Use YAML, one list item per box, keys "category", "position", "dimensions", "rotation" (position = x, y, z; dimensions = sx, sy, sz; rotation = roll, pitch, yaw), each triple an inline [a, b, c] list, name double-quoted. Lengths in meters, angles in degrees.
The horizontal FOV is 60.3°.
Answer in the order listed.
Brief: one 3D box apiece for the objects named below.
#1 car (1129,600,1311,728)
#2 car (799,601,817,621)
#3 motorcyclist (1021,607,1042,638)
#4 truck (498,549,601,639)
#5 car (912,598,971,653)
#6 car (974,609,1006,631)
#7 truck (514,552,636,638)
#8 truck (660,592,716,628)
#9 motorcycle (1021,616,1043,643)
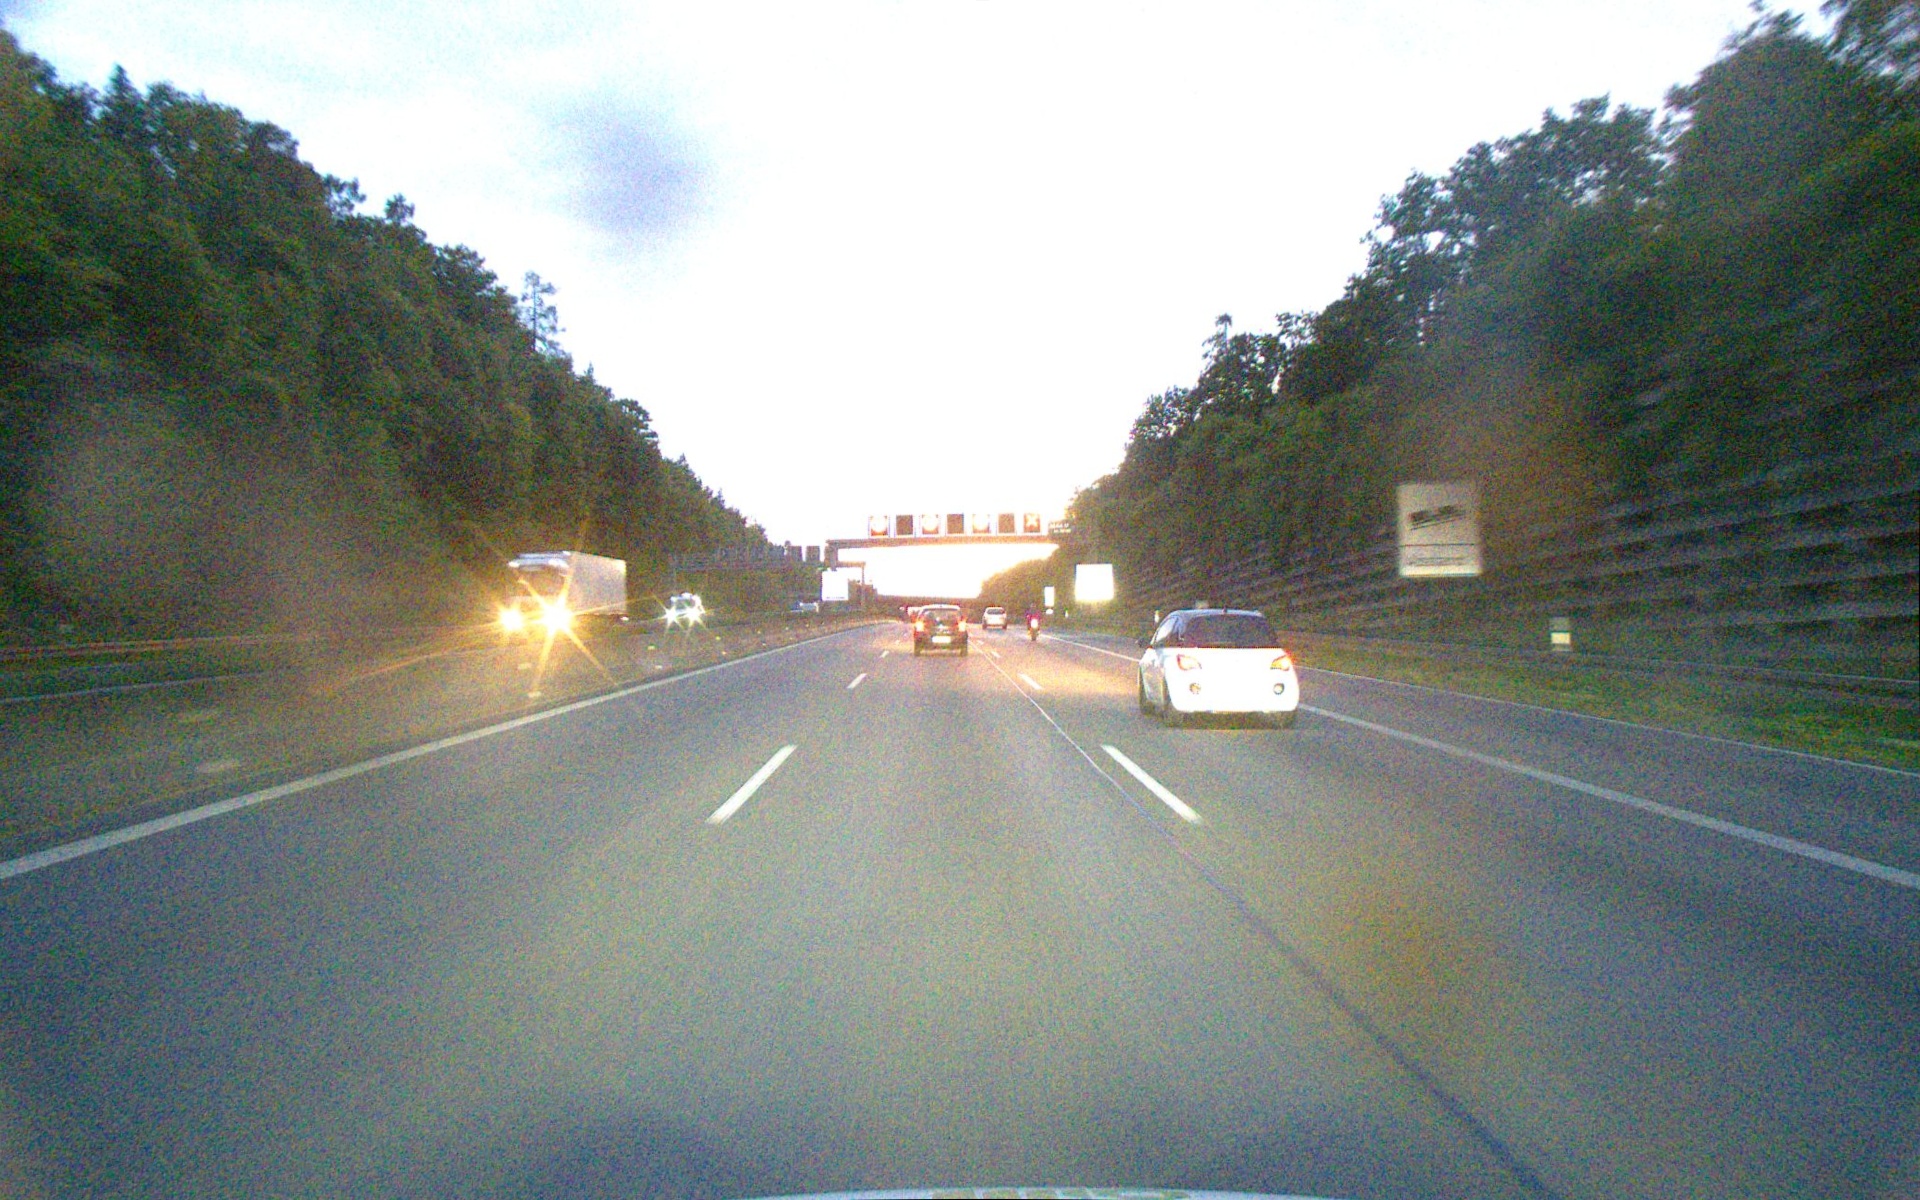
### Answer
- category: "car"
  position: [3.397, 0.781, 22.359]
  dimensions: [1.788, 1.501, 4.399]
  rotation: [0, 1, 0]
- category: "car"
  position: [-22.279, 1.625, 242.656]
  dimensions: [1.941, 2.931, 7.833]
  rotation: [-1, -1, 0]
- category: "motorcyclist"
  position: [3.067, 0.943, 70.833]
  dimensions: [0.813, 1.314, 1.190]
  rotation: [0, -1, -1]
- category: "truck"
  position: [-19.498, -0.262, 78.991]
  dimensions: [3.312, 4.073, 6.877]
  rotation: [-1, 0, -2]
- category: "car"
  position: [-0.530, 0.779, 49.726]
  dimensions: [1.669, 1.536, 4.231]
  rotation: [1, -1, 0]
- category: "car"
  position: [2.154, 1.480, 119.390]
  dimensions: [1.829, 1.520, 4.393]
  rotation: [1, -1, -5]
- category: "truck"
  position: [-19.727, -0.223, 85.892]
  dimensions: [3.289, 4.073, 14.491]
  rotation: [-1, 0, -2]
- category: "truck"
  position: [-19.928, 0.715, 121.883]
  dimensions: [2.410, 2.553, 9.754]
  rotation: [0, 0, 1]
- category: "motorcycle"
  position: [3.072, 1.265, 70.897]
  dimensions: [0.813, 1.154, 2.475]
  rotation: [0, -1, -1]
